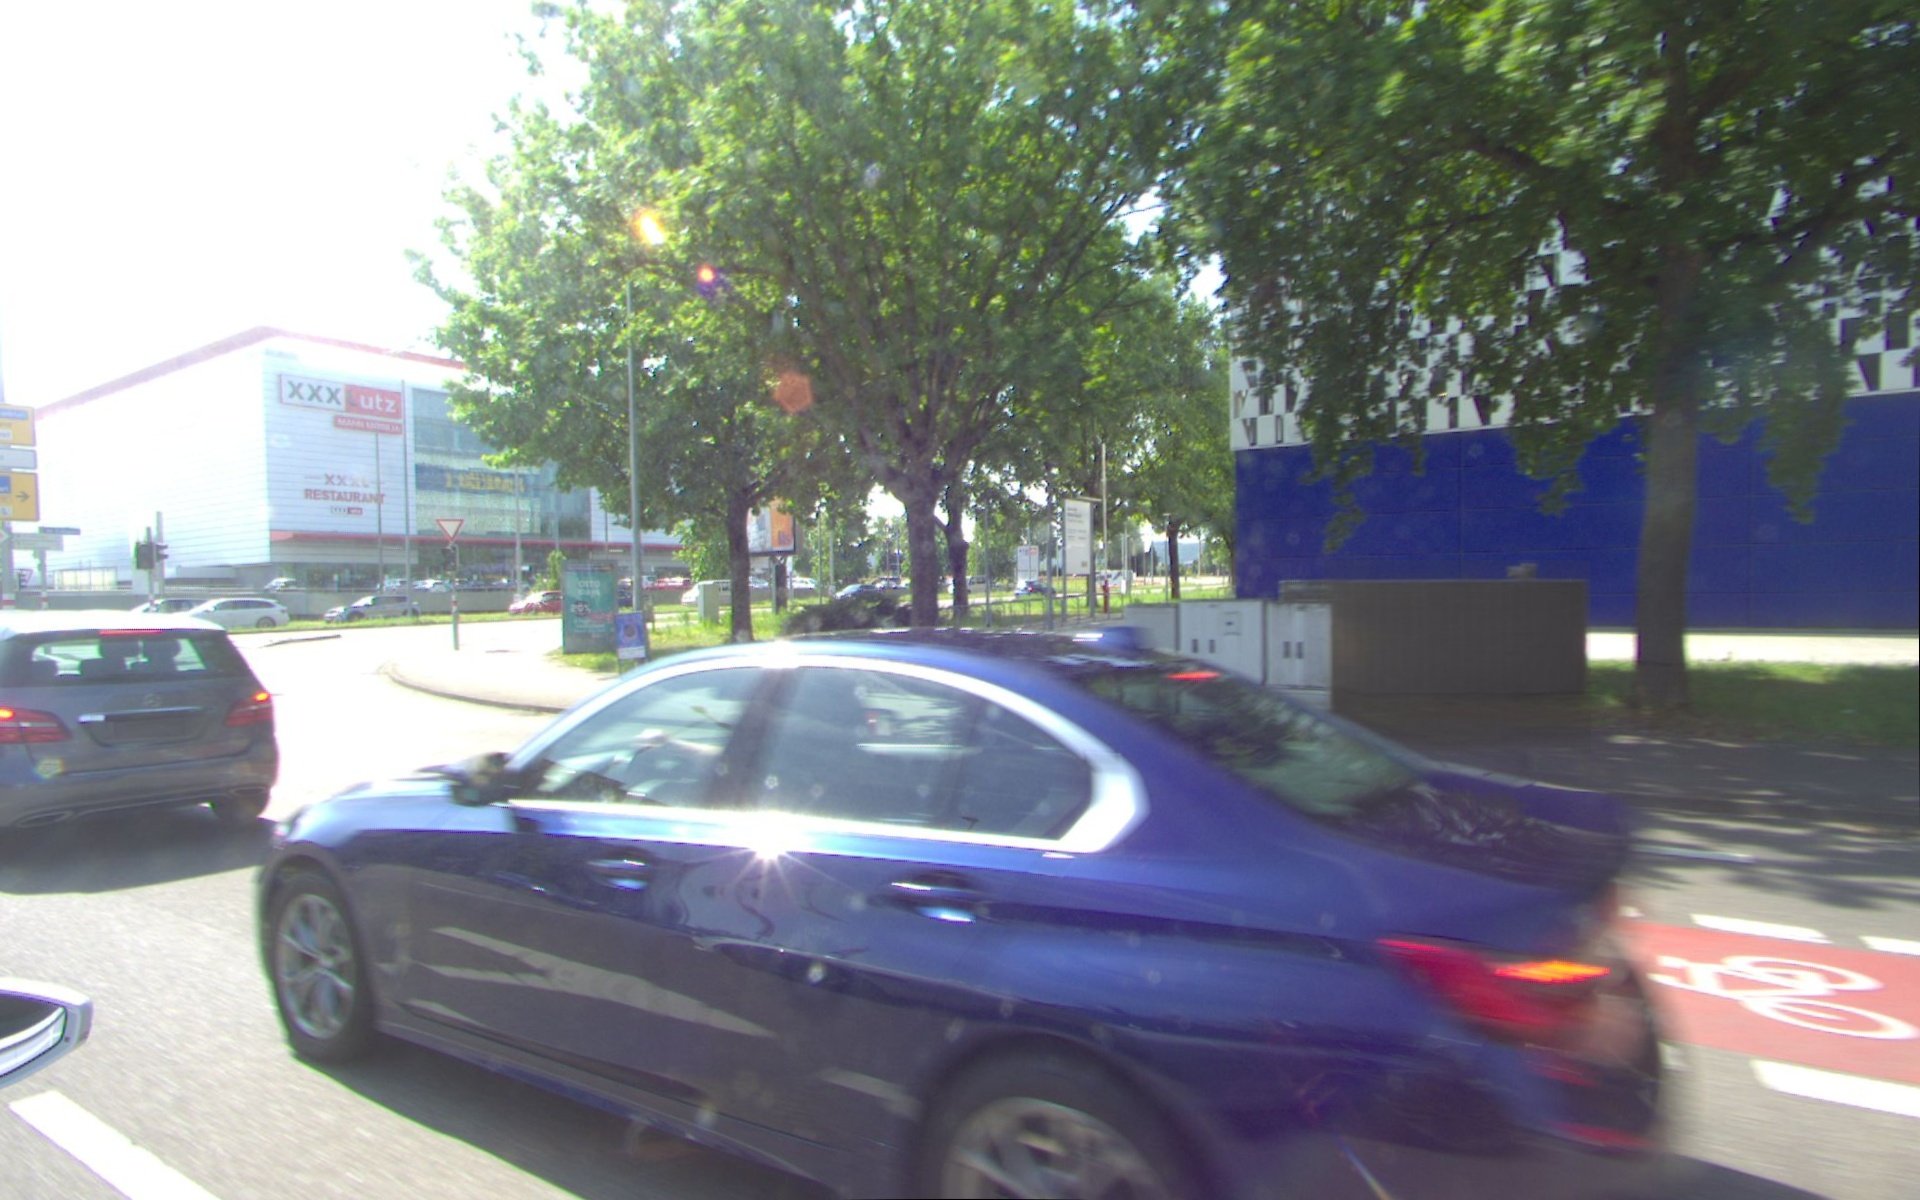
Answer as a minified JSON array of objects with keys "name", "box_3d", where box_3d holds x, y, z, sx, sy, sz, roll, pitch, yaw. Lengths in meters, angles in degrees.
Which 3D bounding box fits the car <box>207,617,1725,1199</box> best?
[{"name":"car","box_3d":[-0.425,0.805,3.223,4.411,1.477,1.743,0,0,32]}]

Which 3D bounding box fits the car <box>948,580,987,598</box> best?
[{"name":"car","box_3d":[0.690,-0.977,90.560,1.461,1.408,4.017,0,3,36]}]

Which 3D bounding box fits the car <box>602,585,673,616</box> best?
[{"name":"car","box_3d":[-18.711,0.004,58.249,1.461,1.540,3.757,0,3,36]}]

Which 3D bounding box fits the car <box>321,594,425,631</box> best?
[{"name":"car","box_3d":[-28.700,0.595,49.089,1.461,1.540,4.115,0,3,36]}]

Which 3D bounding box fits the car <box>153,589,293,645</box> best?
[{"name":"car","box_3d":[-30.641,0.650,41.772,1.461,2.022,4.384,0,3,36]}]

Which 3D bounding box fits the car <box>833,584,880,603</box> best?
[{"name":"car","box_3d":[-7.947,-0.510,77.052,1.461,1.303,3.757,0,3,36]}]

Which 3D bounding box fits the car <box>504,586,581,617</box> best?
[{"name":"car","box_3d":[-23.486,0.074,56.414,1.461,1.540,3.757,0,3,36]}]

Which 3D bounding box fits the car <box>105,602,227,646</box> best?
[{"name":"car","box_3d":[-33.632,0.974,42.492,1.461,1.540,3.757,0,3,36]}]

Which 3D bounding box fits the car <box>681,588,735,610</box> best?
[{"name":"car","box_3d":[-16.506,-0.061,65.789,1.288,1.285,3.279,0,3,39]}]

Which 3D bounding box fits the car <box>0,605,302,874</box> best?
[{"name":"car","box_3d":[-6.800,0.812,7.392,4.019,1.536,1.743,0,0,32]}]

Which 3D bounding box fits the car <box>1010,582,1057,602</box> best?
[{"name":"car","box_3d":[5.543,-0.621,75.134,1.677,1.266,3.756,0,3,37]}]
